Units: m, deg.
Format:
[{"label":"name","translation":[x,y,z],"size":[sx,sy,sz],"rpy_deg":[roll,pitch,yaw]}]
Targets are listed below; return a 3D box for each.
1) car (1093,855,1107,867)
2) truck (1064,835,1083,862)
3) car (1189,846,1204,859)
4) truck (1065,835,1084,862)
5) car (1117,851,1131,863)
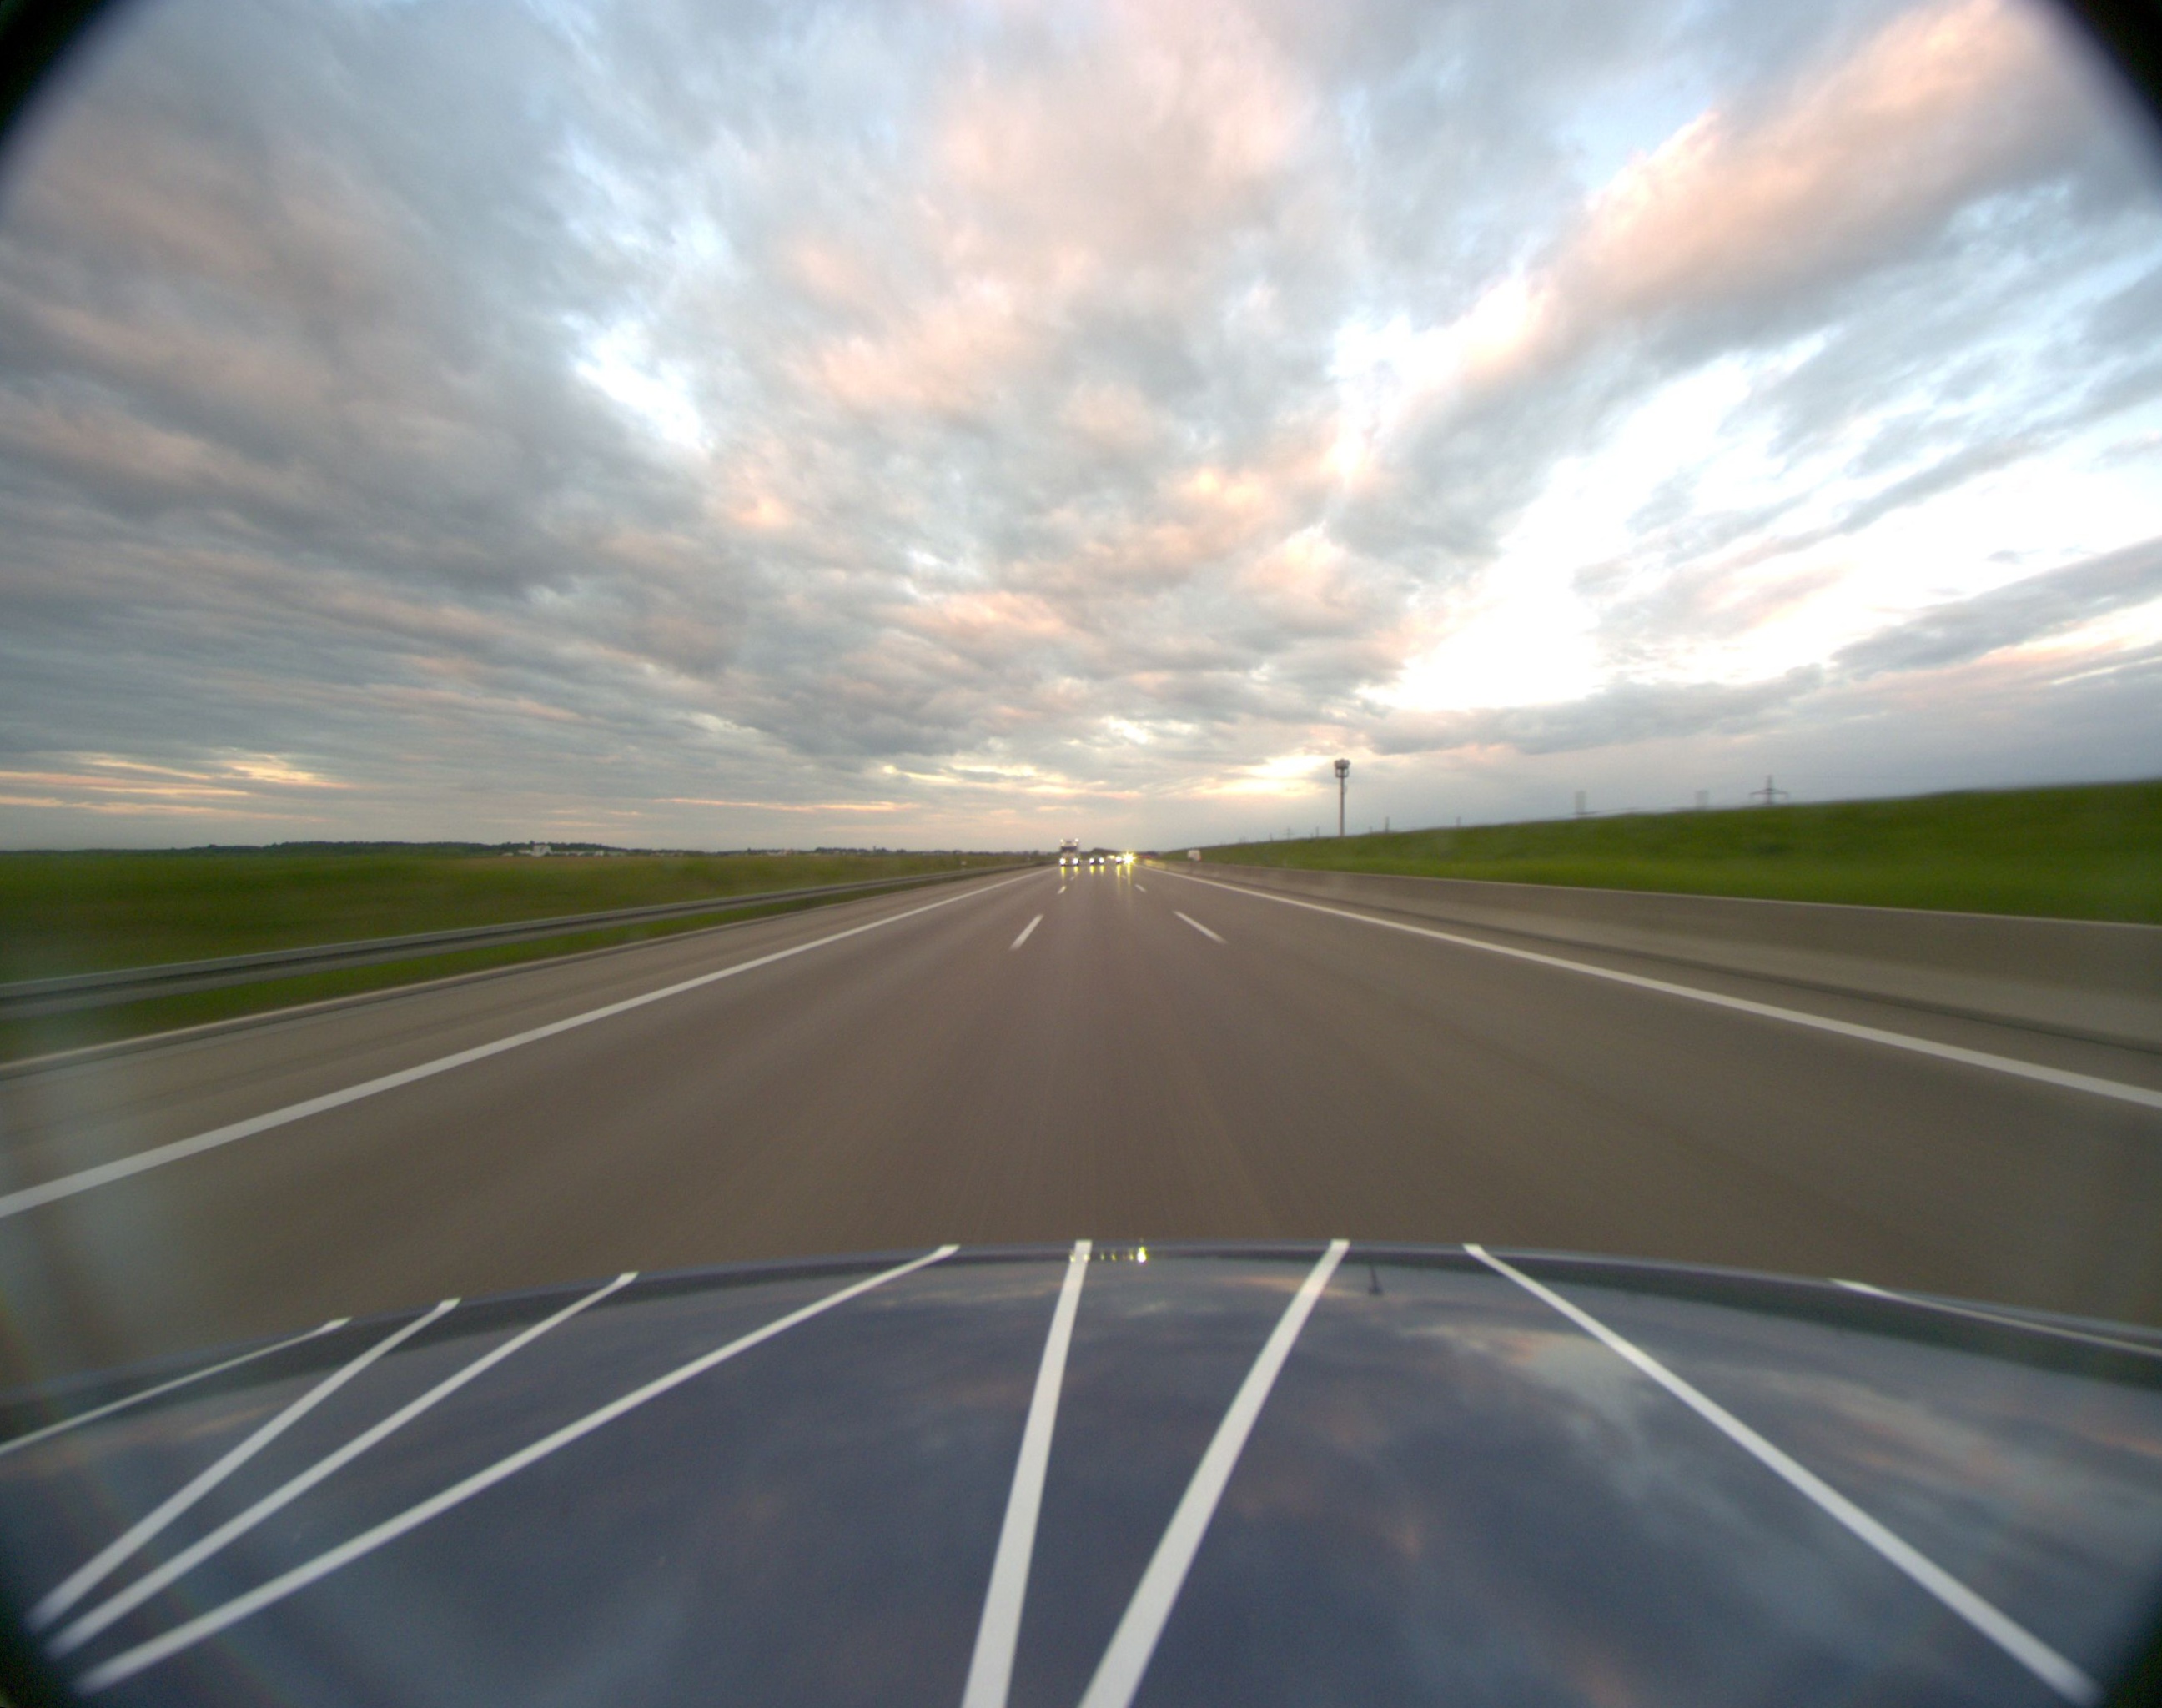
[{"label":"car","translation":[2.864,0.983,113.746],"size":[1.998,1.652,4.851],"rpy_deg":[-2,0,2]},{"label":"truck","translation":[-1.098,-0.771,116.833],"size":[2.596,3.999,5.859],"rpy_deg":[-1,0,1]},{"label":"car","translation":[23.713,-0.305,156.112],"size":[1.998,2.531,7.377],"rpy_deg":[0,0,1]},{"label":"truck","translation":[-0.929,-0.821,123.328],"size":[2.596,3.999,12.986],"rpy_deg":[-1,0,1]},{"label":"car","translation":[6.557,0.481,117.226],"size":[1.998,1.652,4.000],"rpy_deg":[-2,0,2]}]
